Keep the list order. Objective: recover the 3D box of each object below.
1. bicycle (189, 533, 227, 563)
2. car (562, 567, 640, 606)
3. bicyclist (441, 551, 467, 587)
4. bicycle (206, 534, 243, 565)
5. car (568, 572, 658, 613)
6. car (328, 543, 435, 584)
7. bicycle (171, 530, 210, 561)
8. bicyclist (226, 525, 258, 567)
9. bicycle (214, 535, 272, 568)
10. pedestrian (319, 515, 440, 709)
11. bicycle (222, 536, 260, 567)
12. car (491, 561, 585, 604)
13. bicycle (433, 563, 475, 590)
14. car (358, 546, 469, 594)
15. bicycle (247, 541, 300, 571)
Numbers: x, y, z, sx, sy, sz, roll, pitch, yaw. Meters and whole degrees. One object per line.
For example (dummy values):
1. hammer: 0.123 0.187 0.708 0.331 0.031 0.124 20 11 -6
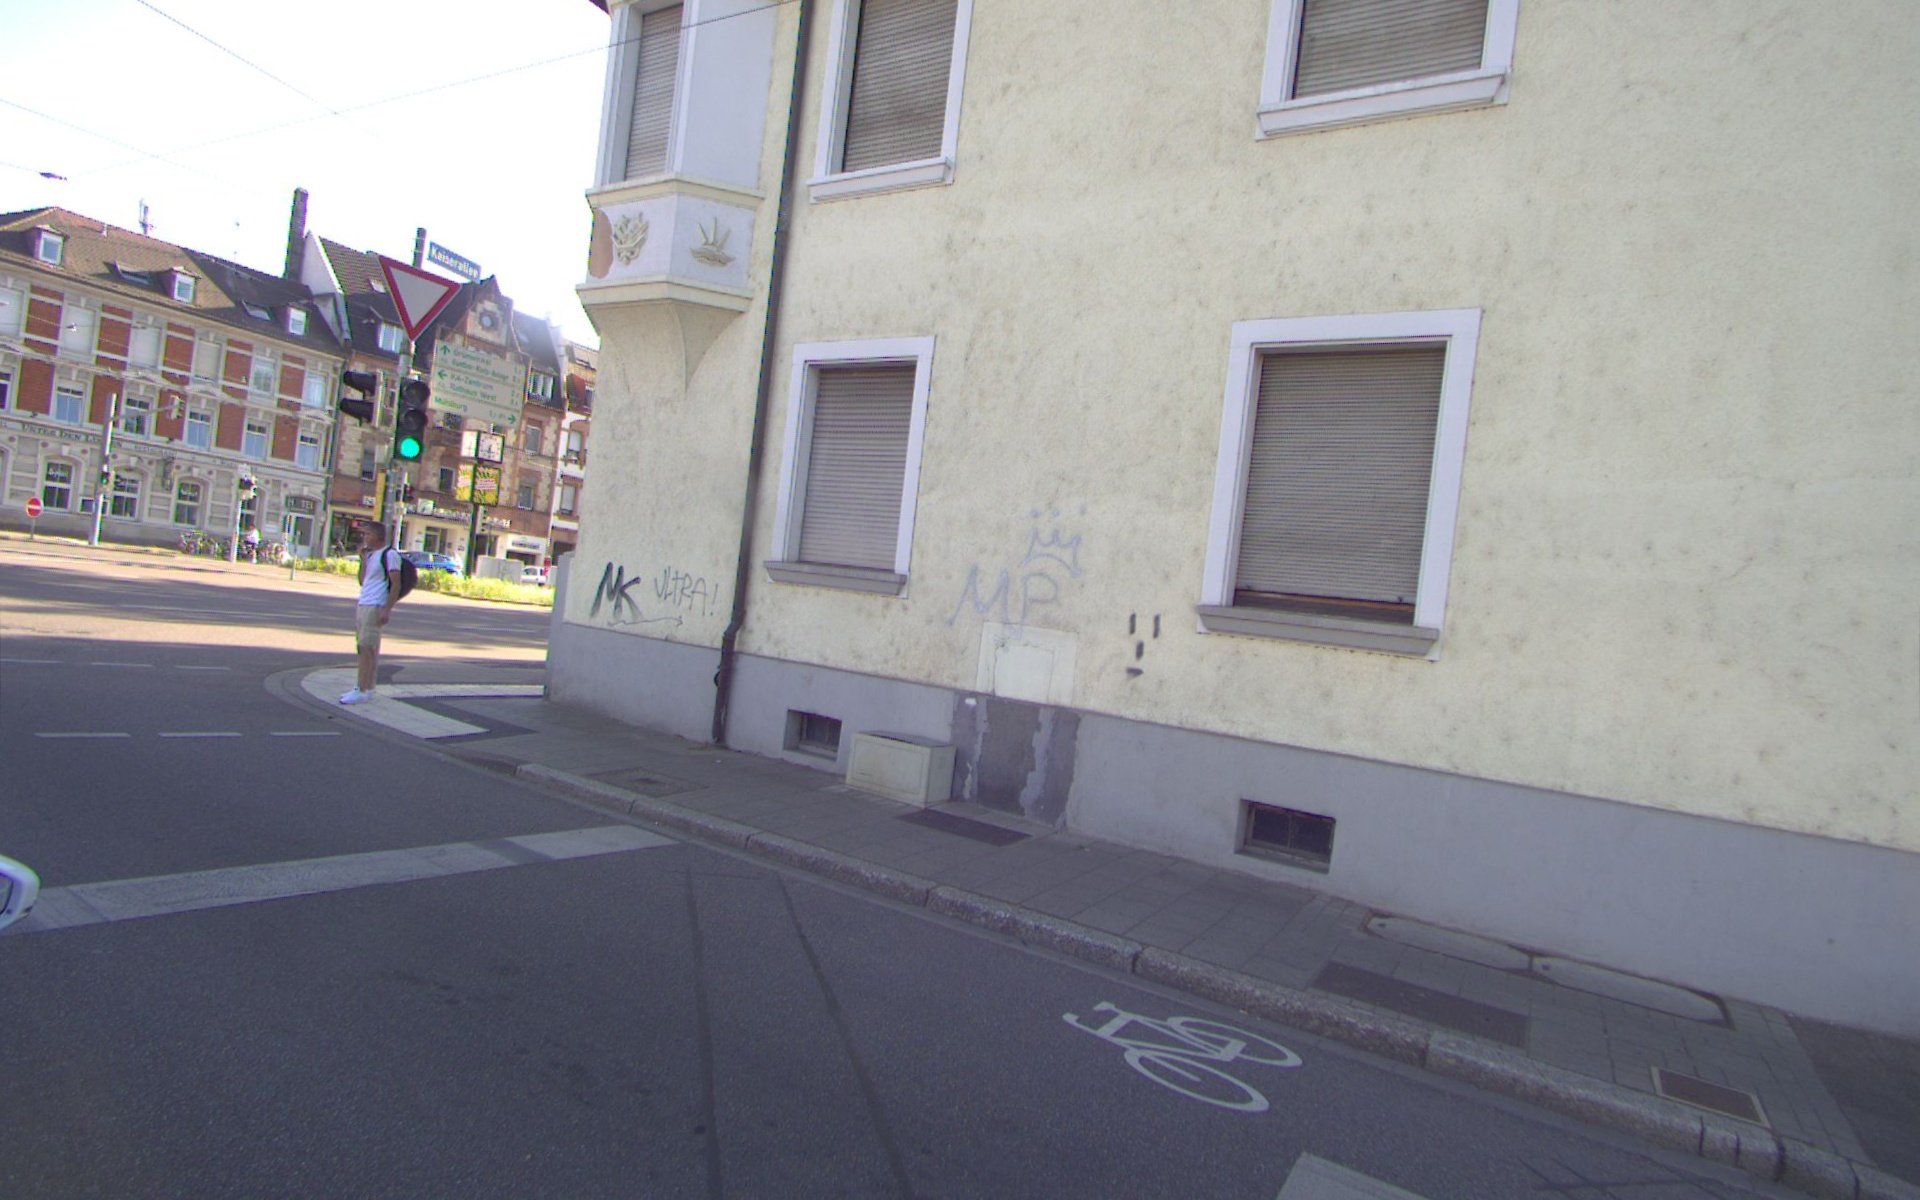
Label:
1. bicycle: -34.520 -2.389 46.181 1.935 1.205 0.678 7 0 33
2. car: -23.214 -0.834 65.179 1.922 1.988 4.411 7 -1 31
3. bicyclist: -27.382 -1.668 54.453 0.591 1.785 0.905 7 0 27
4. bicycle: -34.181 -2.351 46.737 1.935 1.205 0.678 7 0 33
5. car: -19.440 -0.394 56.488 1.922 1.688 4.480 7 -1 31
6. car: -27.805 -1.734 48.462 1.815 1.429 3.993 7 -1 31
7. bicycle: -34.860 -2.474 45.567 1.935 1.205 0.678 7 0 33
8. bicyclist: -32.377 -2.430 45.397 0.592 1.785 0.873 7 0 34
9. bicycle: -32.372 -2.185 45.452 0.592 1.205 1.962 7 -1 34
10. pedestrian: -5.592 0.110 9.714 0.661 1.764 0.689 5 2 2
11. bicycle: -33.825 -2.285 47.309 1.935 1.205 0.678 7 0 33
12. car: -21.896 -0.895 52.328 1.922 1.688 3.993 7 -1 31
13. bicycle: -27.394 -1.250 54.526 0.591 1.205 1.966 7 -1 27
14. car: -25.379 -1.374 46.825 1.922 1.688 3.993 7 -1 31
15. bicycle: -32.858 -2.085 48.161 0.667 1.205 1.968 7 -1 20
